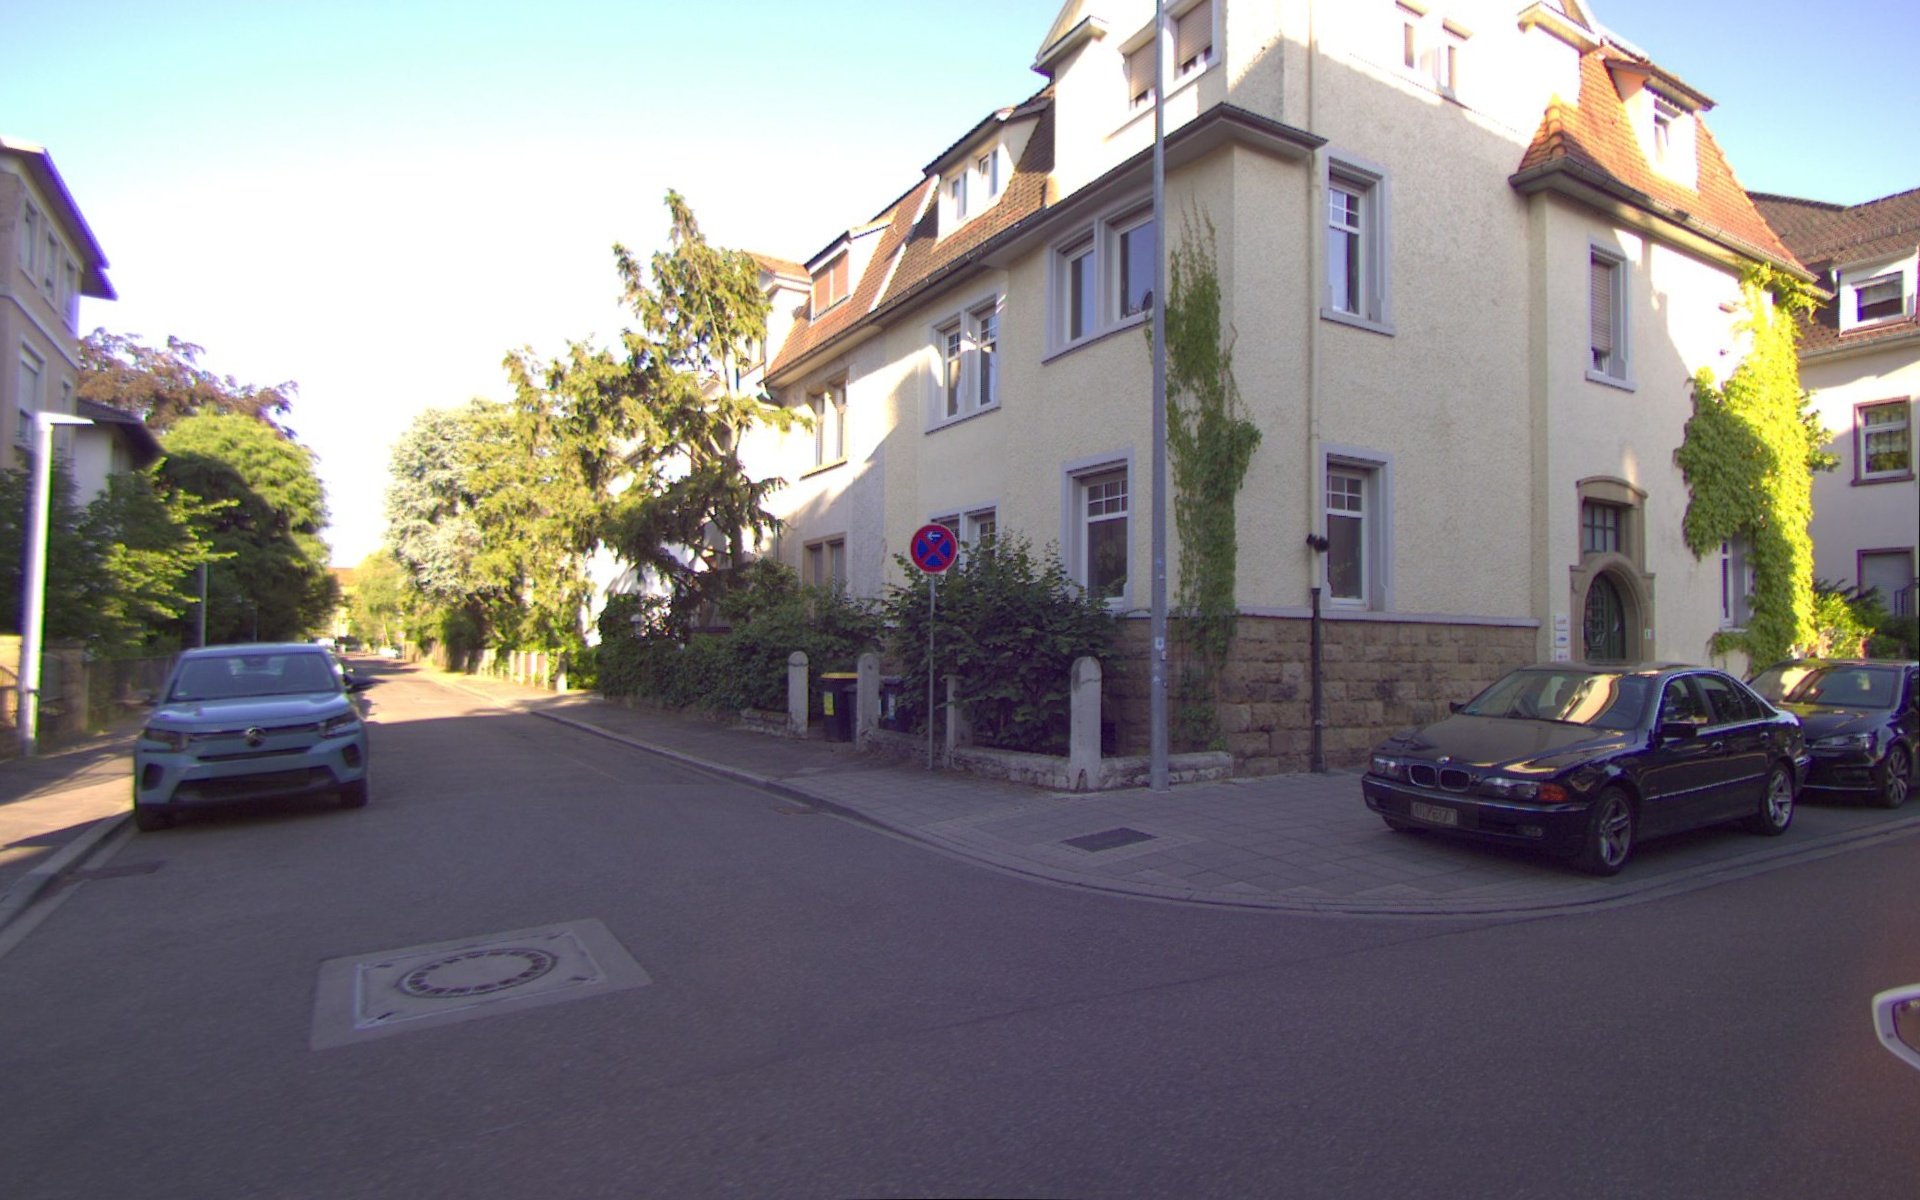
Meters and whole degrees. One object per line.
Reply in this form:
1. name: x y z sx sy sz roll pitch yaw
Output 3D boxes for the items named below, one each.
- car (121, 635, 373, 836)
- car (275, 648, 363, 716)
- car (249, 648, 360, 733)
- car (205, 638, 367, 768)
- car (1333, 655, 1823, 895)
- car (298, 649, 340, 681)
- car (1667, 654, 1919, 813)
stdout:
1. car: -7.050 1.181 10.112 1.743 1.580 3.739 0 -2 -34
2. car: -15.419 1.912 24.172 1.664 1.448 3.924 0 -2 -33
3. car: -12.799 1.687 19.679 1.664 1.448 3.924 0 -2 -33
4. car: -9.931 1.403 14.935 1.742 1.580 4.451 0 -2 -33
5. car: 5.340 1.243 8.484 4.582 1.489 1.700 2 -2 -32
6. car: -31.039 3.127 48.635 1.664 1.448 3.924 0 -2 -33
7. car: 9.826 1.349 11.220 4.120 1.434 1.645 2 -2 -31
